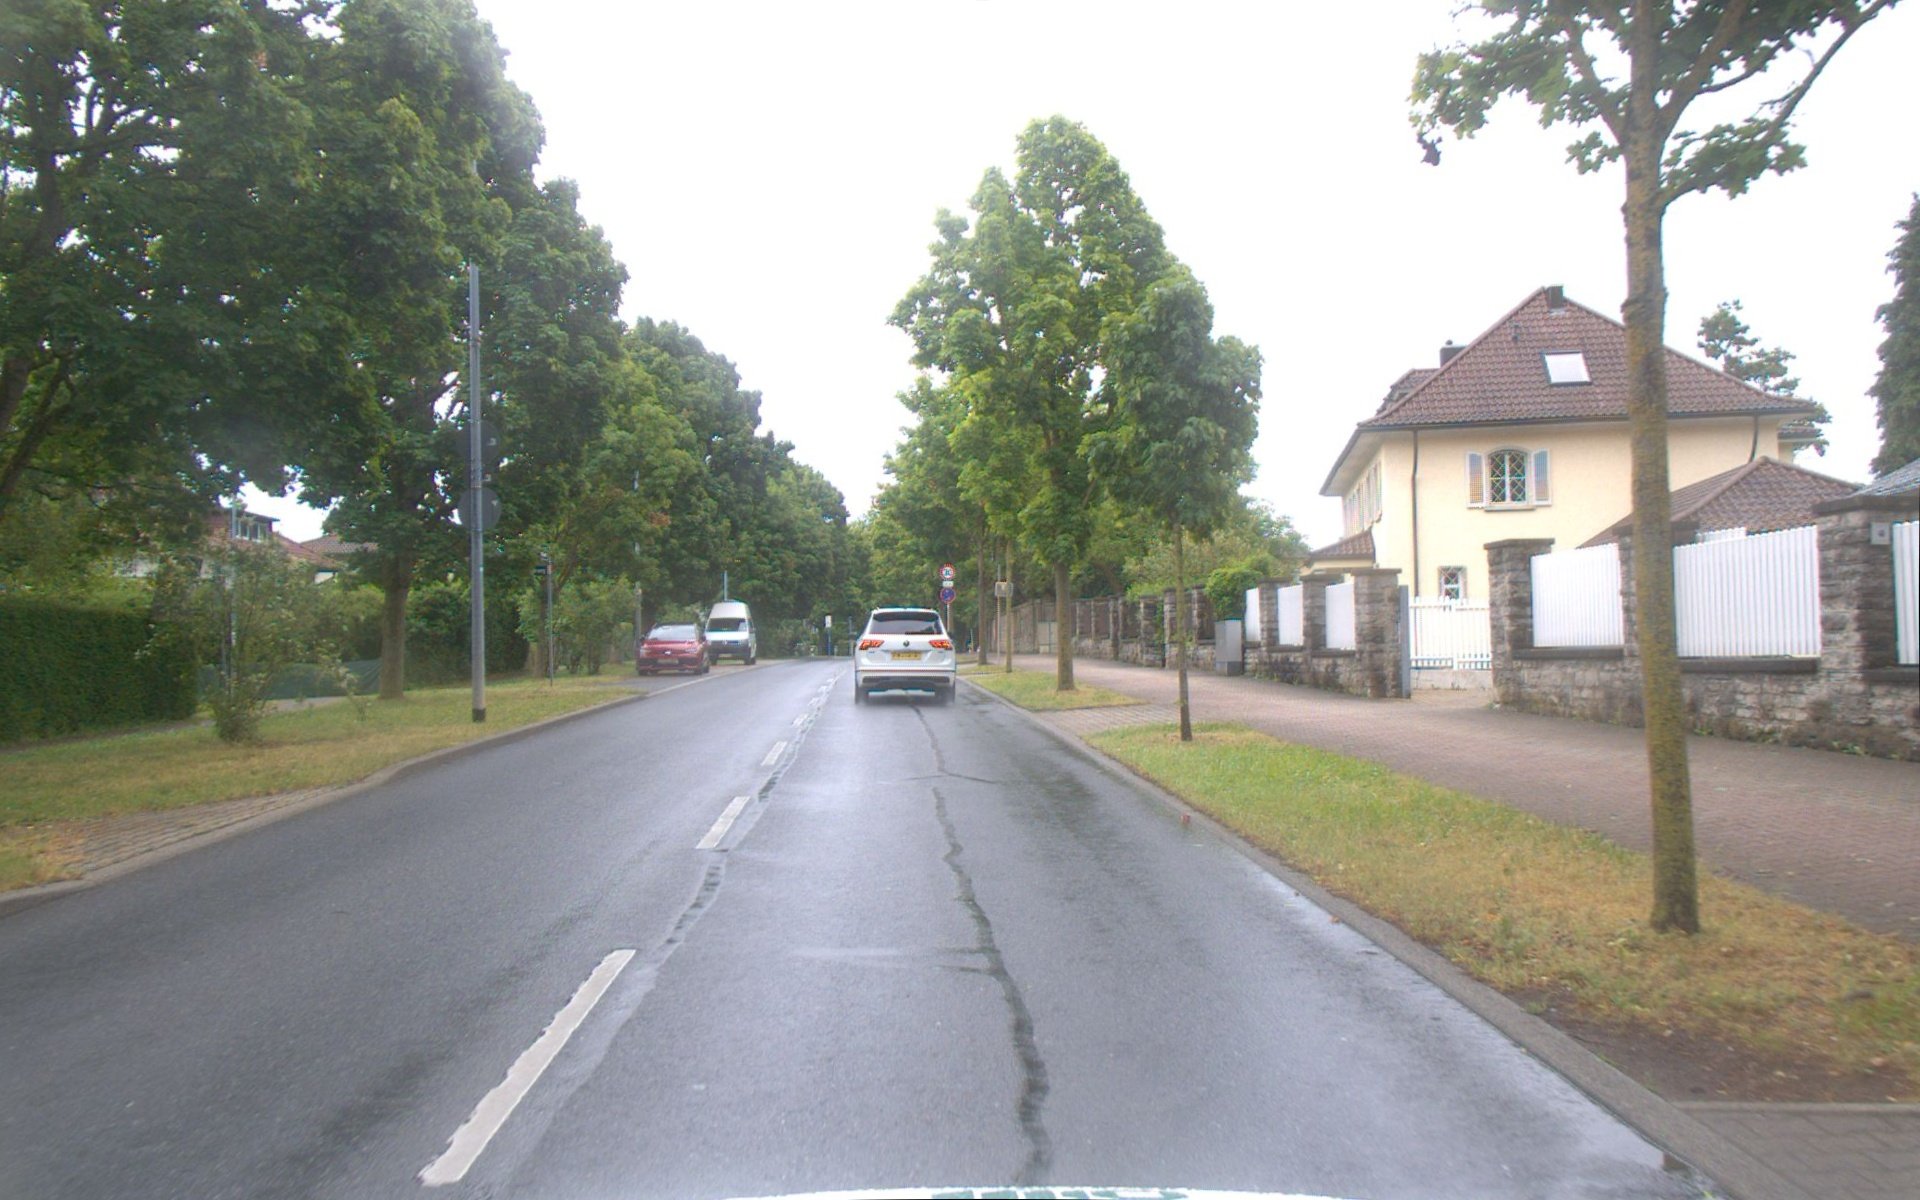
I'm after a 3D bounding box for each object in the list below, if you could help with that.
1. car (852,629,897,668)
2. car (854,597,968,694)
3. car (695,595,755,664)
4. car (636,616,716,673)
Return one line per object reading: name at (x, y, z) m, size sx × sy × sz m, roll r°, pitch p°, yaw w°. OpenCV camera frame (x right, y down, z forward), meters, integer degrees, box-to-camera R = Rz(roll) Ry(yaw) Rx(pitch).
car at (-3.631, 2.040, 70.875) m, size 1.803 × 1.513 × 3.999 m, roll 1°, pitch 0°, yaw -2°
car at (-0.926, 0.801, 30.411) m, size 1.957 × 1.660 × 3.998 m, roll 0°, pitch -1°, yaw -2°
car at (-9.348, 1.175, 66.172) m, size 1.954 × 2.606 × 5.228 m, roll -1°, pitch -1°, yaw -4°
car at (-7.962, 1.236, 46.736) m, size 1.807 × 1.491 × 4.245 m, roll -1°, pitch -1°, yaw -4°
